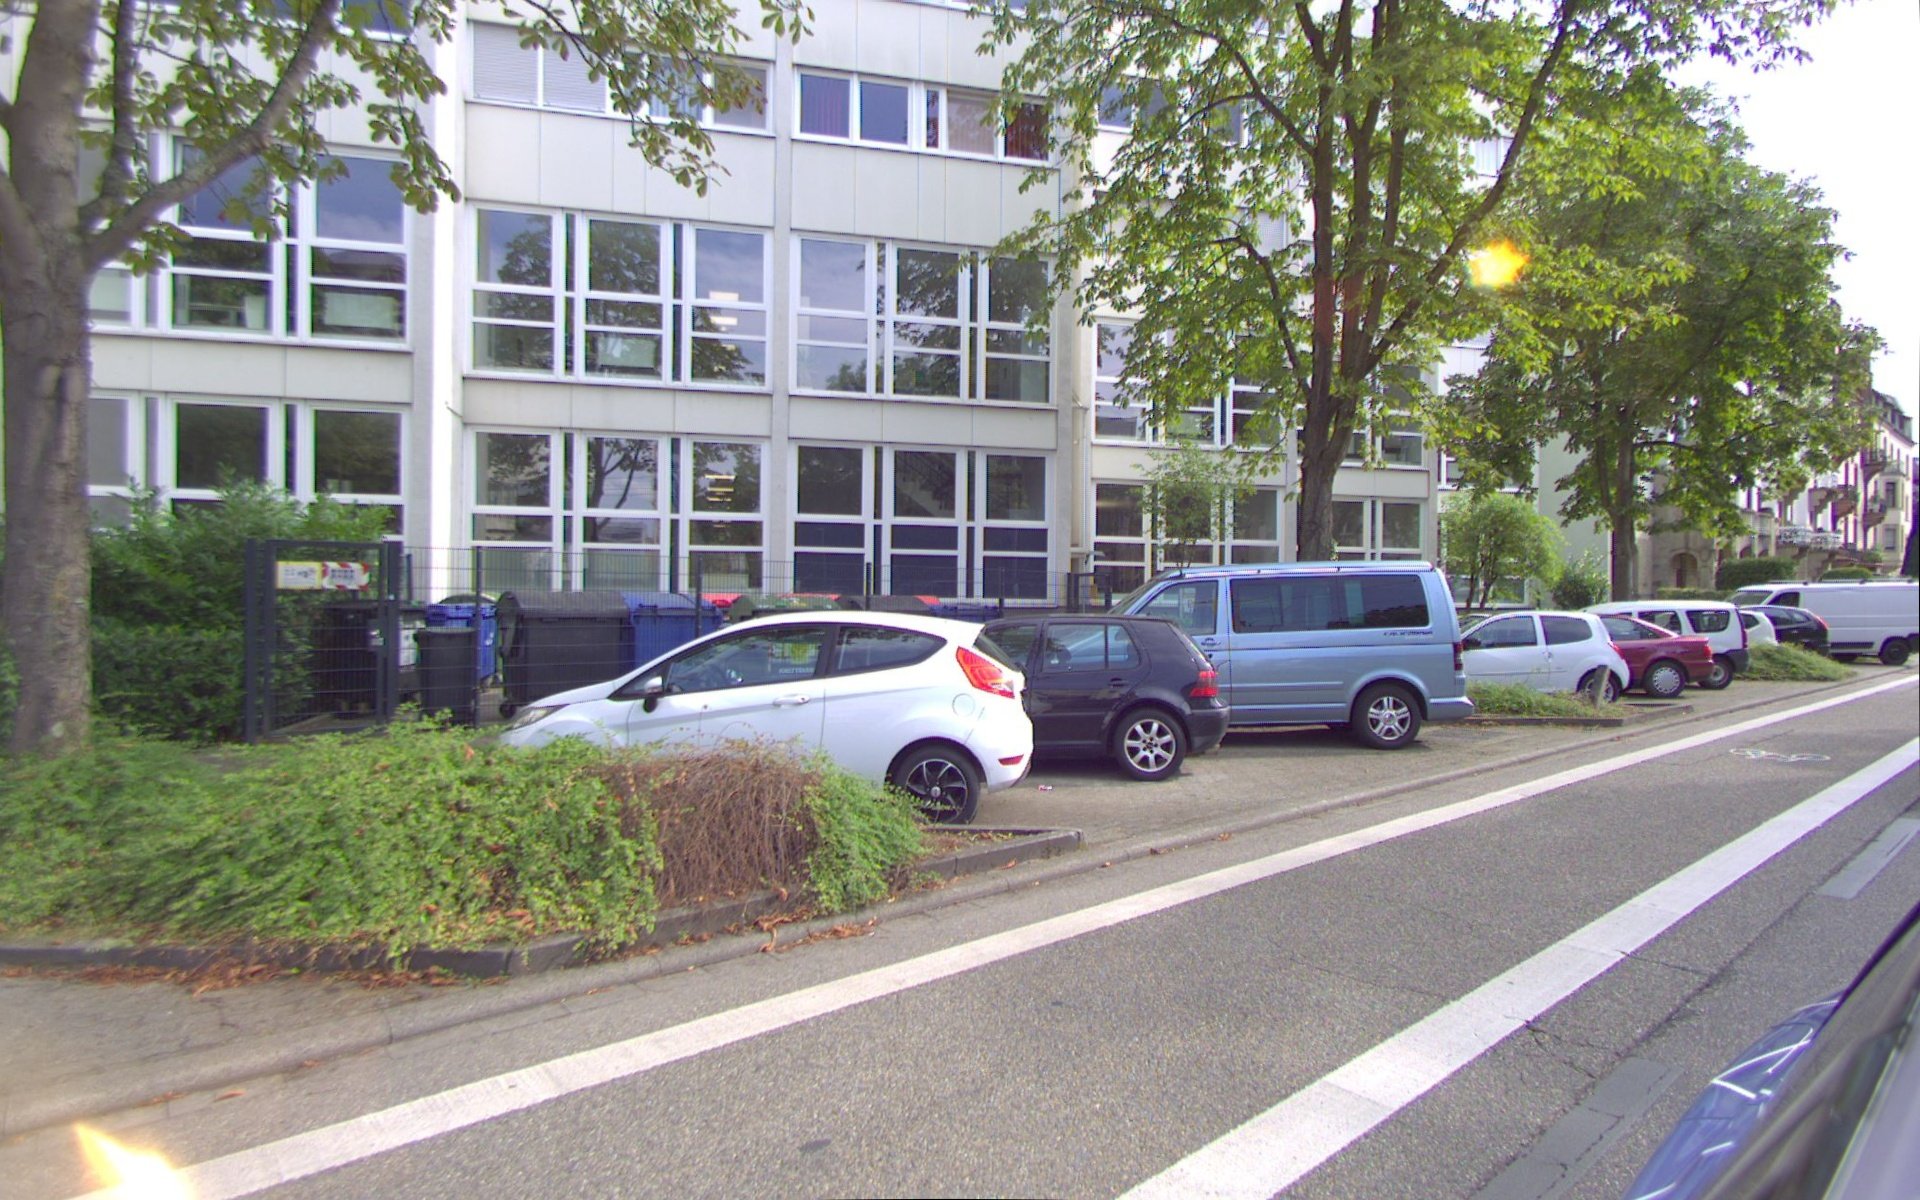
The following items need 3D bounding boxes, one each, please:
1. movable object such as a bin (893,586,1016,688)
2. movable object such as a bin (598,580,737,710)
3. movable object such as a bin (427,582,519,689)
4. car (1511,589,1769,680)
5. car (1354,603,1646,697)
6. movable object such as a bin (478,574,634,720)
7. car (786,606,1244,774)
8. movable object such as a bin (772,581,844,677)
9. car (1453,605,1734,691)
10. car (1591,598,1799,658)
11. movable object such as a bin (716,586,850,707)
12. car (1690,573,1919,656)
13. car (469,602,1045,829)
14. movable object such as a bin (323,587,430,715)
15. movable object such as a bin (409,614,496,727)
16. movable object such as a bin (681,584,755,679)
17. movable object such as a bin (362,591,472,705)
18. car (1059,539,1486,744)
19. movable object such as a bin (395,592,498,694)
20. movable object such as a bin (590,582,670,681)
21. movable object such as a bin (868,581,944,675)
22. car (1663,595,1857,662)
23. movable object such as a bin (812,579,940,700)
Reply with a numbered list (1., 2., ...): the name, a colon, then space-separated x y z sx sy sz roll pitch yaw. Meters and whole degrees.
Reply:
1. movable object such as a bin: -0.089 0.530 15.509 1.374 1.477 1.335 0 0 -36
2. movable object such as a bin: -3.692 0.522 12.733 1.312 1.523 1.335 0 0 -36
3. movable object such as a bin: -7.571 0.522 15.812 1.155 1.588 1.177 0 0 -19
4. car: 13.005 0.619 19.580 3.708 1.638 1.810 0 0 9
5. car: 8.248 0.732 15.741 3.580 1.347 1.766 0 0 5
6. movable object such as a bin: -4.683 0.498 11.707 1.389 1.549 1.330 0 0 -36
7. car: 0.499 0.774 9.555 3.902 1.405 1.812 0 -1 5
8. movable object such as a bin: -2.637 0.479 17.445 1.150 1.588 1.182 0 0 -12
9. car: 10.886 0.792 17.643 3.708 1.355 1.810 0 0 9
10. car: 17.389 0.638 24.079 3.580 1.347 1.766 0 0 5
11. movable object such as a bin: -2.385 0.576 13.612 1.328 1.521 1.335 0 0 -36
12. car: 23.935 0.379 28.244 5.349 2.203 2.143 0 0 9
13. car: -1.309 0.732 7.378 3.792 1.410 1.632 0 0 4
14. movable object such as a bin: -6.786 0.564 11.835 0.893 1.425 1.026 0 0 -19
15. movable object such as a bin: -5.380 0.714 10.721 0.729 1.119 0.786 0 0 -34
16. movable object such as a bin: -4.055 0.506 17.050 1.150 1.533 1.182 0 0 -12
17. movable object such as a bin: -7.021 0.586 13.150 1.095 1.409 1.065 0 0 -19
18. car: 3.307 0.404 11.491 4.268 2.090 1.998 0 0 5
19. movable object such as a bin: -7.298 0.580 14.461 1.155 1.387 1.177 0 0 -19
20. movable object such as a bin: -5.488 0.502 16.907 1.150 1.588 1.182 0 0 -12
21. movable object such as a bin: -0.967 0.465 17.747 1.150 1.588 1.182 0 0 -12
22. car: 20.735 0.695 26.412 3.605 1.609 1.753 0 0 24
23. movable object such as a bin: -1.211 0.521 14.467 1.328 1.616 1.335 0 0 -36
